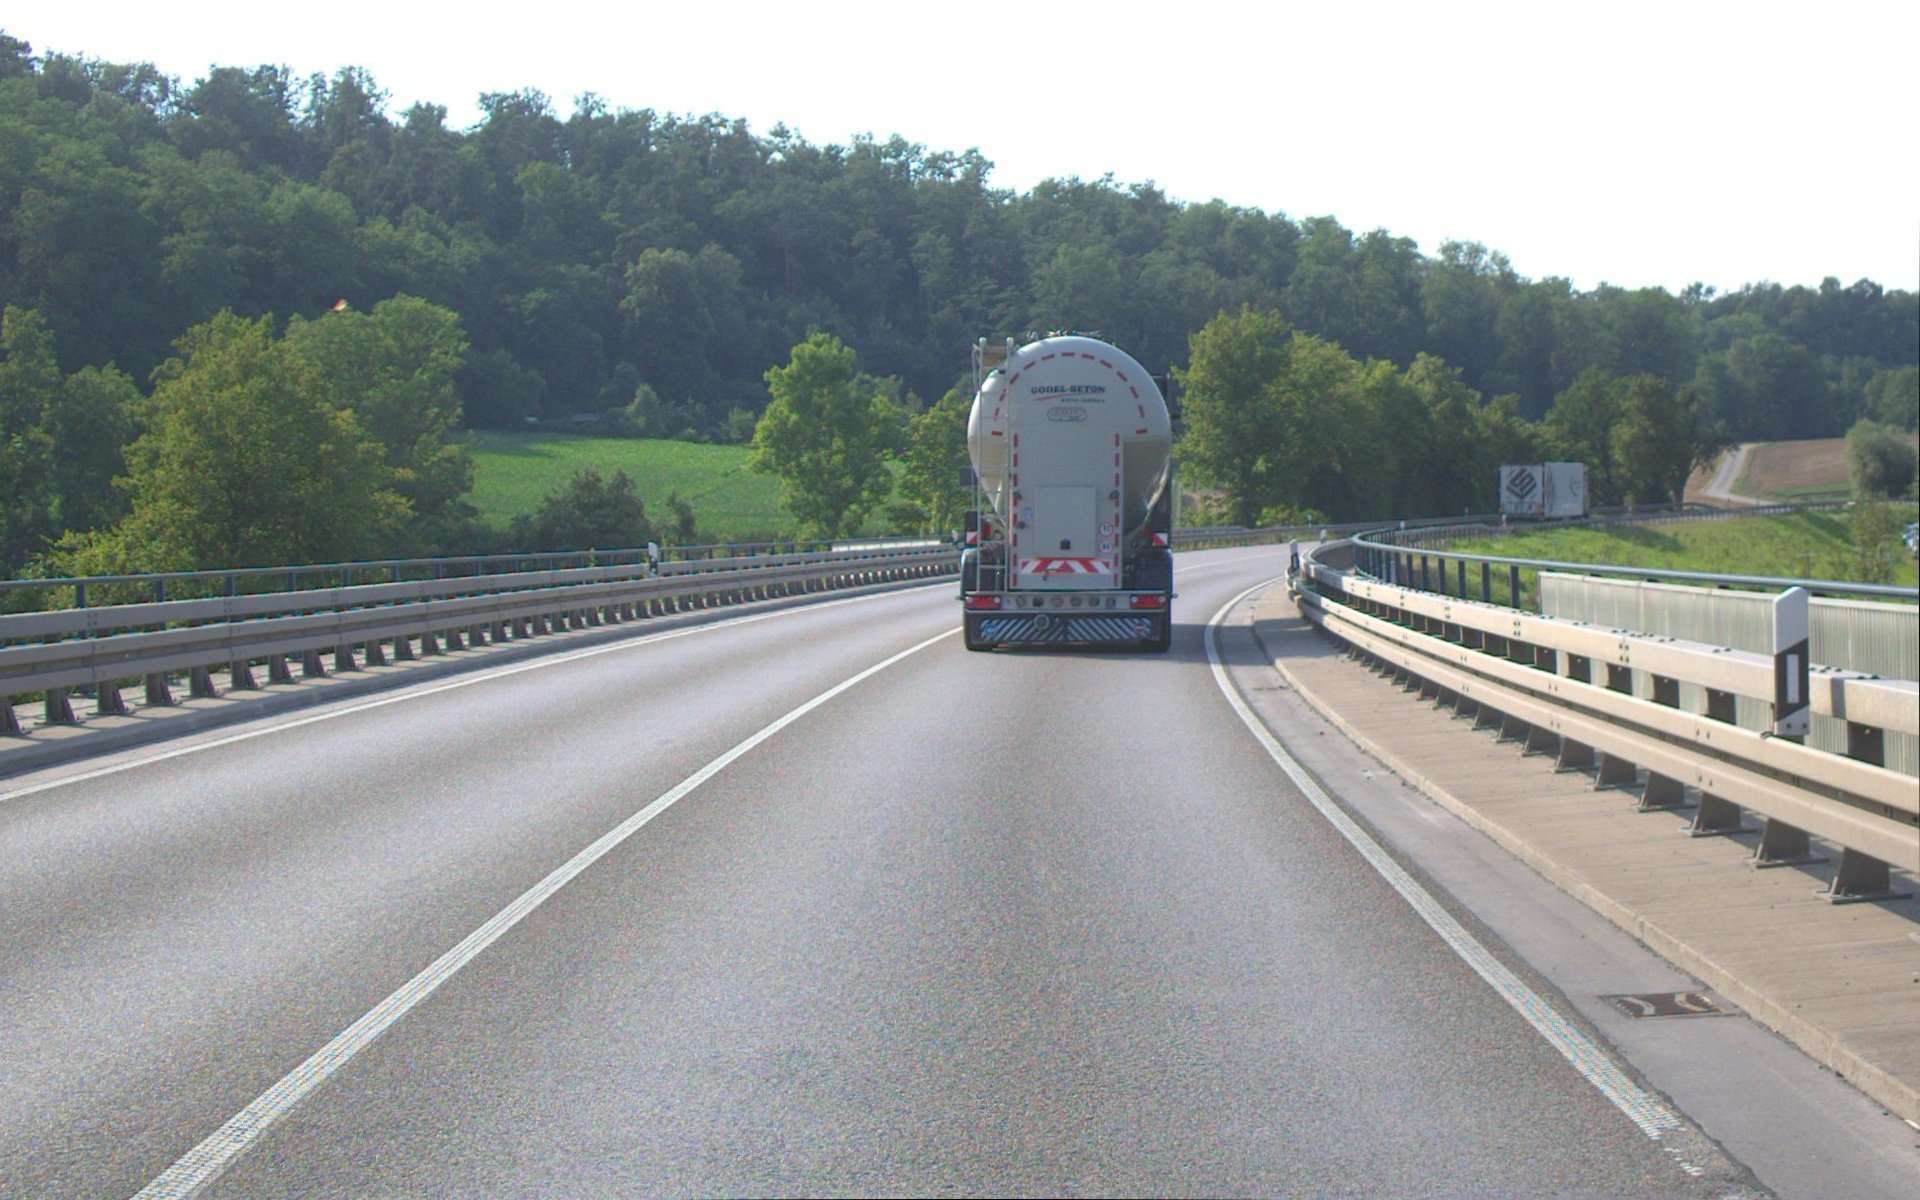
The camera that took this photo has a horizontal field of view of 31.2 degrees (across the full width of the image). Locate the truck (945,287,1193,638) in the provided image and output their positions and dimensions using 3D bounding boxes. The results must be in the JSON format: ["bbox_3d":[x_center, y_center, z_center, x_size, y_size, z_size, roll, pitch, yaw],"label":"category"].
[{"bbox_3d":[1.503,-1.794,47.262,2.893,4.128,13.172,1,1,2],"label":"truck"}]

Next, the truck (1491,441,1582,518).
[{"bbox_3d":[33.626,-7.062,199.949,3.186,4.213,13.162,0,3,18],"label":"truck"}]
